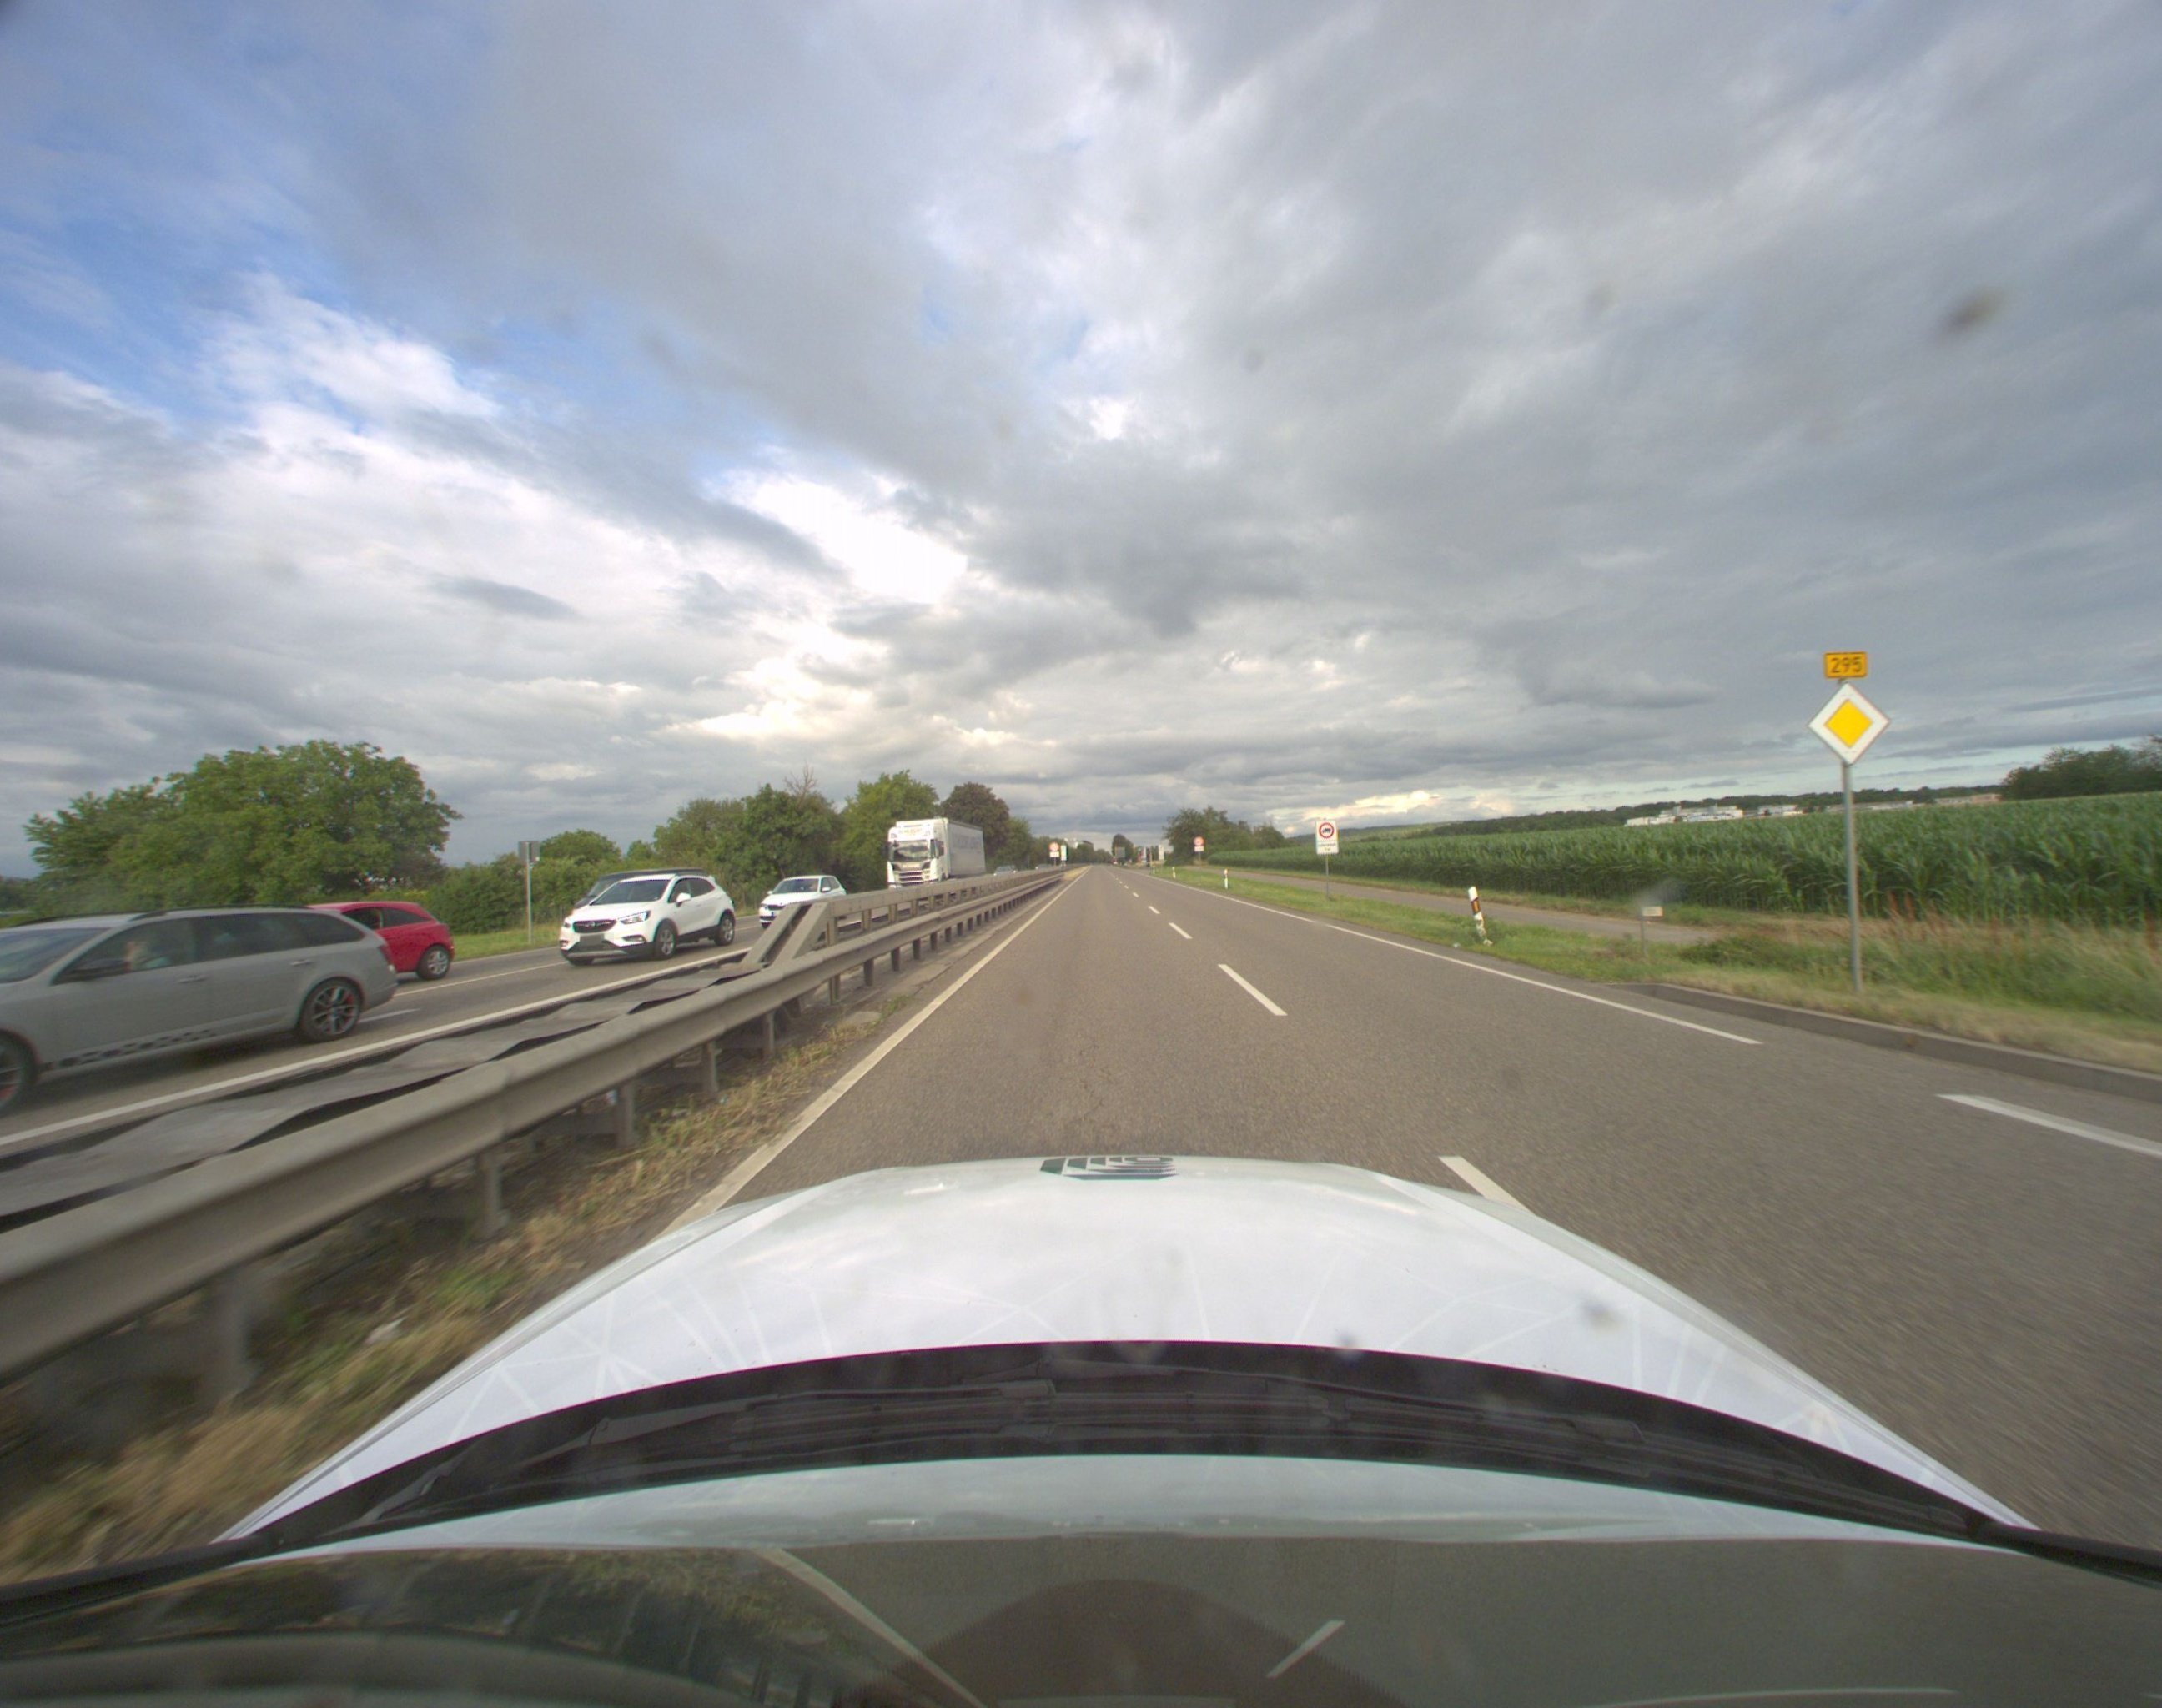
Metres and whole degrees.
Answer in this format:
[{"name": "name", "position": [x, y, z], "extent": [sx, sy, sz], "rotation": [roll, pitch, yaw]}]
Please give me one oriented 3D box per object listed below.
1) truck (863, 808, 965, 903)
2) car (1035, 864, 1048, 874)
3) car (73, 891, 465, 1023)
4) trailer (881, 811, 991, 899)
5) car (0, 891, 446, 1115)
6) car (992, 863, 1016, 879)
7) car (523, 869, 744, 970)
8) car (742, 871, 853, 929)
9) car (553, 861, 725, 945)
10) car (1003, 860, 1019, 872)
[{"name": "truck", "position": [-8.191, 0.087, 40.807], "extent": [3.462, 4.150, 6.050], "rotation": [-4, -1, 1]}, {"name": "car", "position": [-6.696, 2.503, 139.029], "extent": [1.860, 1.477, 4.826], "rotation": [-3, 0, 1]}, {"name": "car", "position": [-12.326, 1.459, 12.867], "extent": [1.901, 1.465, 4.184], "rotation": [-3, 0, 1]}, {"name": "trailer", "position": [-8.033, 0.092, 47.767], "extent": [3.453, 4.150, 13.918], "rotation": [-4, 0, 1]}, {"name": "car", "position": [-8.663, 1.201, 7.222], "extent": [1.901, 1.428, 5.152], "rotation": [-3, 0, 1]}, {"name": "car", "position": [-7.574, 1.666, 80.336], "extent": [1.783, 1.386, 4.161], "rotation": [-3, 0, 1]}, {"name": "car", "position": [-8.707, 1.185, 16.387], "extent": [1.901, 1.610, 4.405], "rotation": [-3, 0, 1]}, {"name": "car", "position": [-8.469, 1.329, 24.735], "extent": [1.783, 1.444, 4.161], "rotation": [-3, 0, 1]}, {"name": "car", "position": [-12.313, 1.273, 23.152], "extent": [1.986, 2.014, 4.948], "rotation": [-4, -1, 1]}, {"name": "car", "position": [-9.856, 1.665, 115.096], "extent": [1.783, 1.573, 4.161], "rotation": [-3, 0, 1]}]
